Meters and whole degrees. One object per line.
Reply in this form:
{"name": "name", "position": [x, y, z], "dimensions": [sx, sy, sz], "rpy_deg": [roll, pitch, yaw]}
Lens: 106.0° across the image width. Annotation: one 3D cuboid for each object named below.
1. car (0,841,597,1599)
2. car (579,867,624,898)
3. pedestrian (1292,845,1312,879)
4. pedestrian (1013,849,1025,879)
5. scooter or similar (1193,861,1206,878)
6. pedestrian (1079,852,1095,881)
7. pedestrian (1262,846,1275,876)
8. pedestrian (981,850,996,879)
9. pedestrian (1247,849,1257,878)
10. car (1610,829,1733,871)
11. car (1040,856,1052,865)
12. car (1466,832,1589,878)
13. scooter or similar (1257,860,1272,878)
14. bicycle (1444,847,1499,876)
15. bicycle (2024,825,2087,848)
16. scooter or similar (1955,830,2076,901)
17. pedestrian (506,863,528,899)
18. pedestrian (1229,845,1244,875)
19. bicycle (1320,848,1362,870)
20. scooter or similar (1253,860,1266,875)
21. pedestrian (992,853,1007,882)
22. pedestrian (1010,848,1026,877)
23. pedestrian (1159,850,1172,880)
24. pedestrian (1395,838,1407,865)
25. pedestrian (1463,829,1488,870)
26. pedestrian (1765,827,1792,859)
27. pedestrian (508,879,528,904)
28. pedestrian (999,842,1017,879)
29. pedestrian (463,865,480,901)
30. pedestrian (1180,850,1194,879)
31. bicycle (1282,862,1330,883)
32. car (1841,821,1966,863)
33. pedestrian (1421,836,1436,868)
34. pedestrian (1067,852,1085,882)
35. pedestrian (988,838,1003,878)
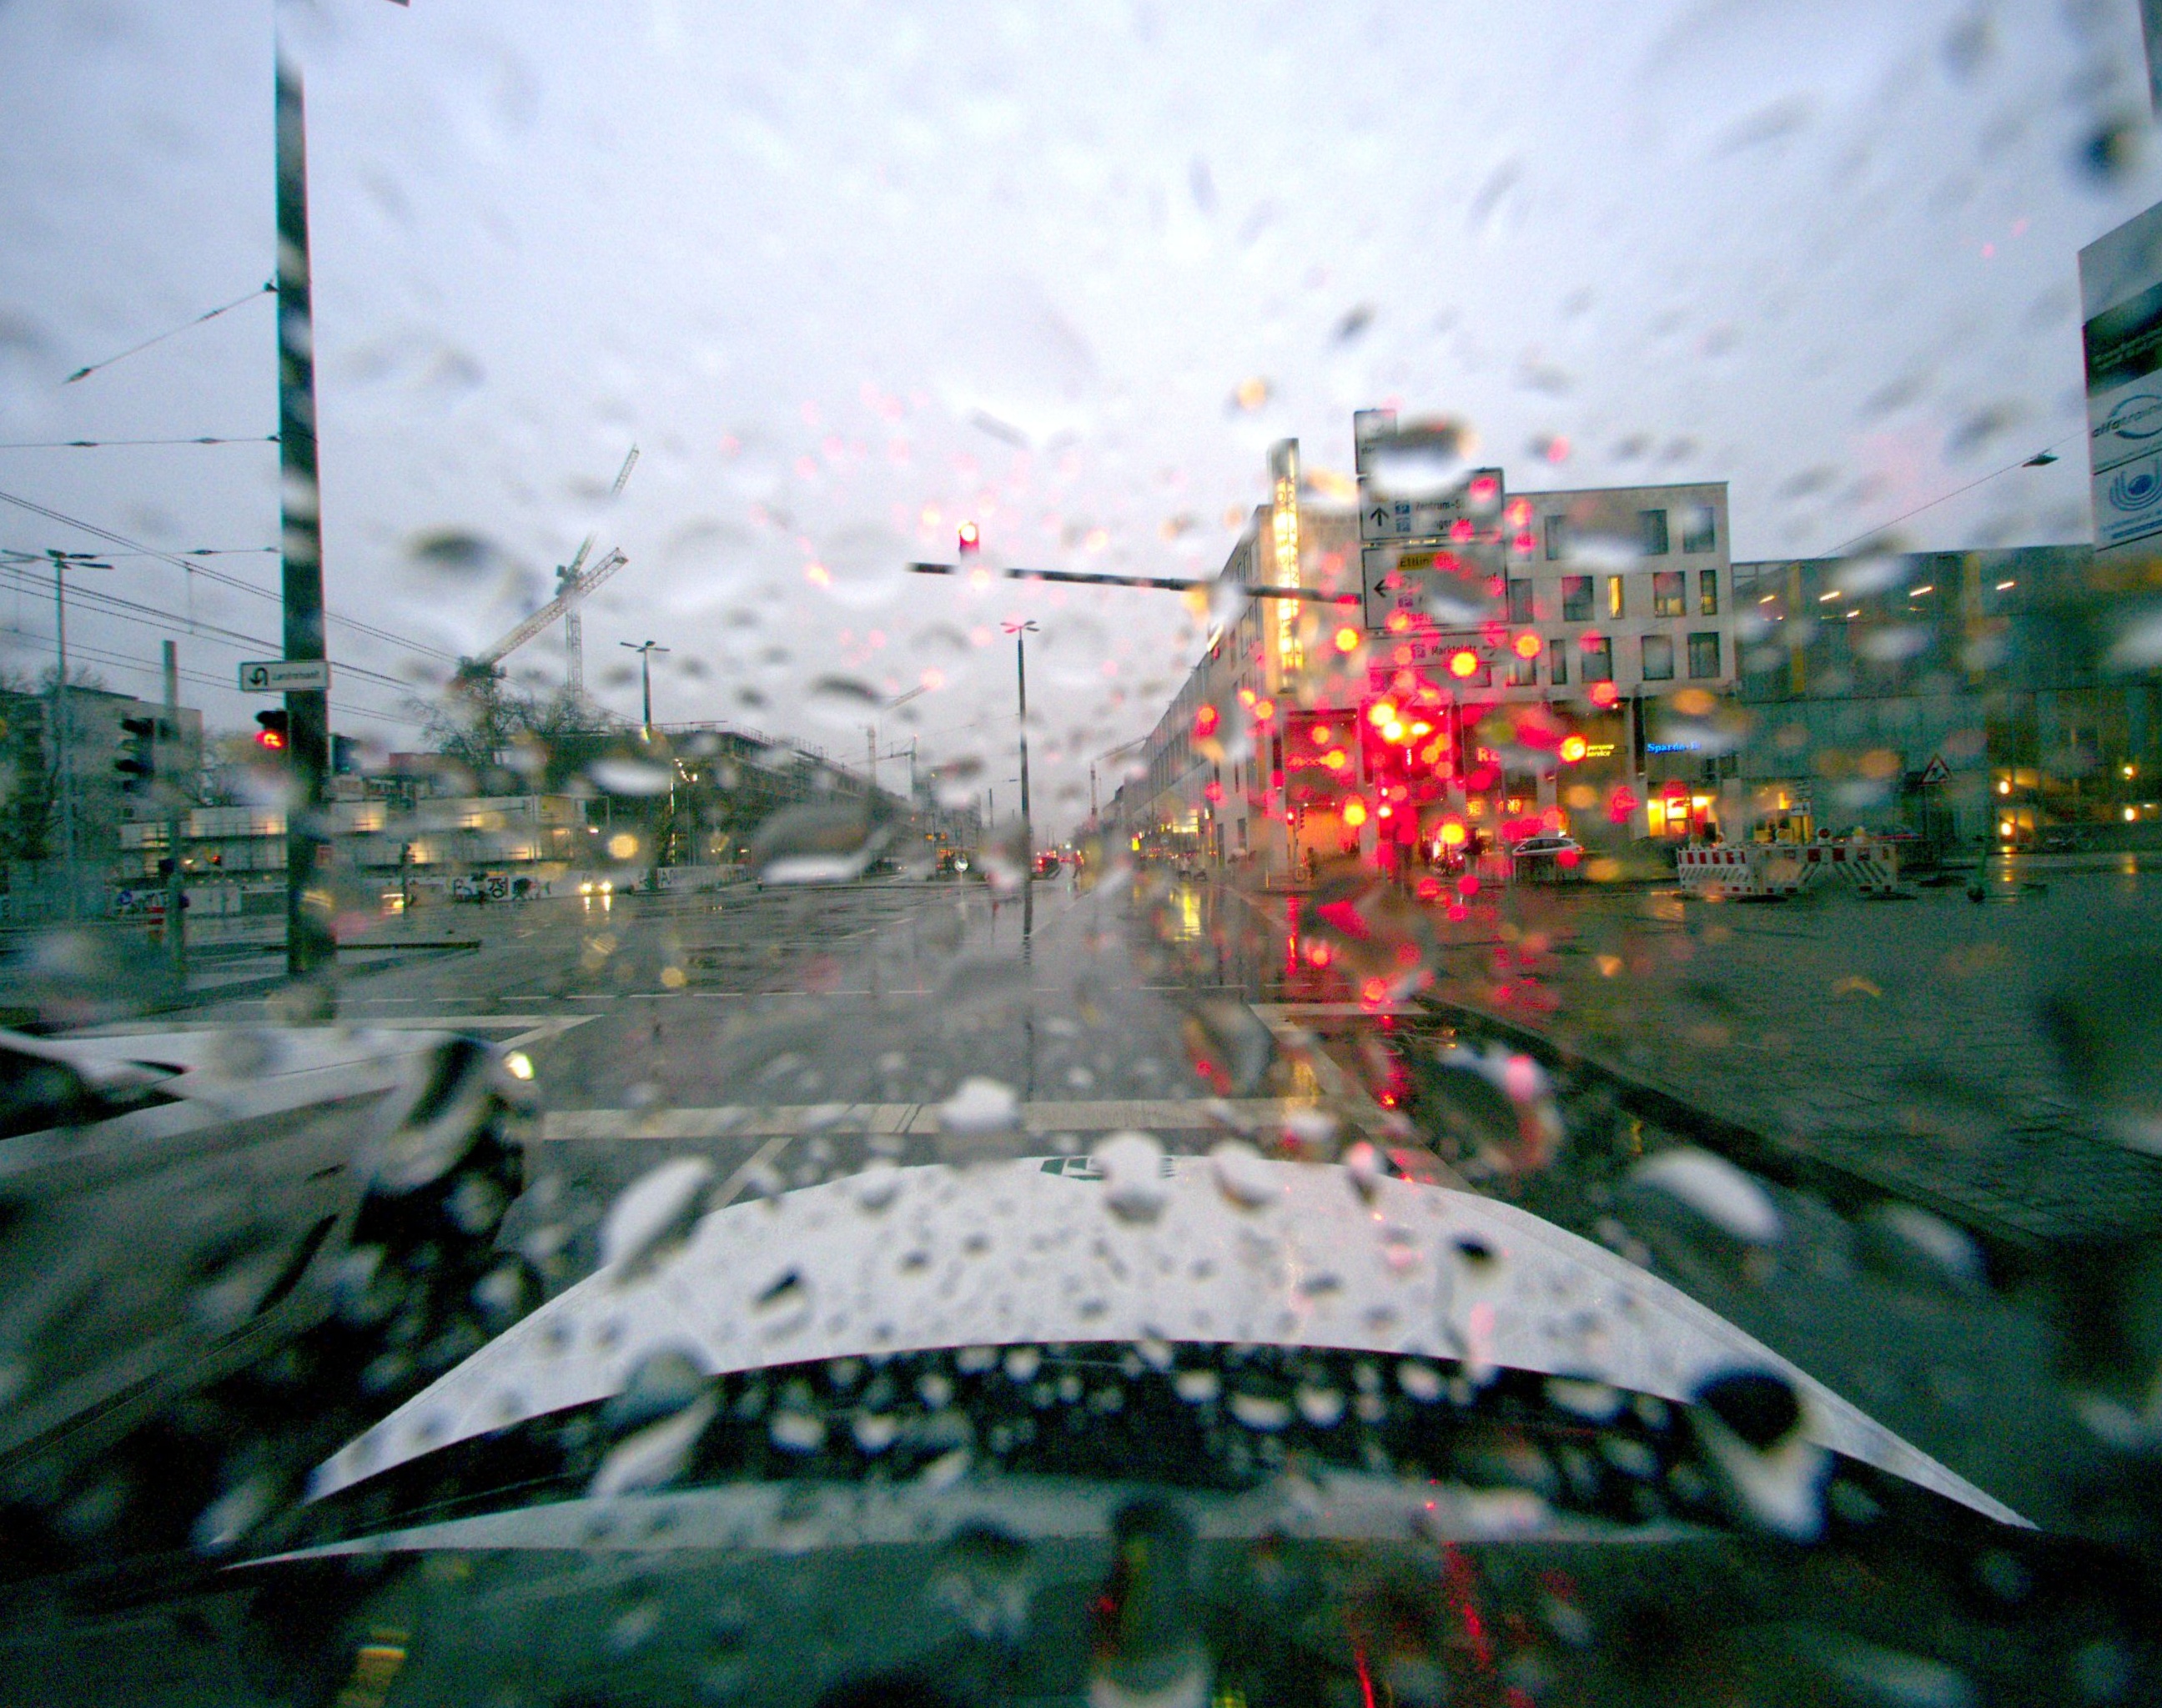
{"name": "car", "position": [-3.151, 0.768, 1.141], "dimensions": [1.903, 1.520, 4.924], "rpy_deg": [-2, 0, 1]}
{"name": "car", "position": [-33.639, 1.957, 57.203], "dimensions": [1.760, 2.013, 3.977], "rpy_deg": [-2, 0, -17]}
{"name": "pedestrian", "position": [10.444, 0.373, 38.499], "dimensions": [0.810, 1.570, 0.537], "rpy_deg": [-2, -1, 7]}
{"name": "pedestrian", "position": [-3.728, 0.587, 48.838], "dimensions": [0.617, 1.746, 0.612], "rpy_deg": [-2, -1, -4]}
{"name": "scooter or similar", "position": [7.010, 0.930, 48.192], "dimensions": [0.736, 0.993, 0.402], "rpy_deg": [-2, -1, 13]}
{"name": "pedestrian", "position": [0.348, 0.734, 48.049], "dimensions": [0.839, 1.688, 0.678], "rpy_deg": [-2, -1, 3]}
{"name": "pedestrian", "position": [11.511, 0.424, 49.966], "dimensions": [0.615, 1.760, 0.482], "rpy_deg": [-2, -1, 1]}
{"name": "pedestrian", "position": [-5.378, 0.612, 47.613], "dimensions": [0.704, 1.619, 0.681], "rpy_deg": [-2, -1, 3]}
{"name": "pedestrian", "position": [10.764, 0.595, 51.199], "dimensions": [0.510, 1.760, 0.374], "rpy_deg": [-2, -1, 1]}
{"name": "car", "position": [25.208, -0.161, 34.837], "dimensions": [4.037, 1.582, 1.676], "rpy_deg": [-2, -1, -1]}
{"name": "car", "position": [-6.919, 1.246, 161.398], "dimensions": [1.881, 1.783, 3.716], "rpy_deg": [-1, -1, 2]}
{"name": "car", "position": [19.016, 0.043, 34.816], "dimensions": [4.283, 1.761, 1.709], "rpy_deg": [-2, 0, 4]}
{"name": "scooter or similar", "position": [10.494, 0.878, 46.478], "dimensions": [0.738, 0.993, 0.401], "rpy_deg": [-2, 0, 3]}
{"name": "bicycle", "position": [15.476, 0.301, 32.321], "dimensions": [1.831, 1.093, 0.620], "rpy_deg": [-2, -1, 16]}
{"name": "bicycle", "position": [48.713, -0.864, 40.735], "dimensions": [0.613, 1.033, 2.138], "rpy_deg": [-2, 0, 3]}
{"name": "scooter or similar", "position": [15.788, 0.194, 13.799], "dimensions": [0.603, 1.130, 1.236], "rpy_deg": [-2, 0, 2]}
{"name": "pedestrian", "position": [-32.973, 1.584, 47.608], "dimensions": [0.792, 2.014, 0.745], "rpy_deg": [-2, -3, -9]}
{"name": "pedestrian", "position": [9.205, 0.364, 48.225], "dimensions": [0.700, 1.760, 0.668], "rpy_deg": [-2, 0, 1]}
{"name": "bicycle", "position": [16.340, 0.301, 51.113], "dimensions": [2.420, 1.329, 0.634], "rpy_deg": [-2, 0, -4]}
{"name": "scooter or similar", "position": [11.406, 0.869, 52.088], "dimensions": [0.738, 0.916, 0.401], "rpy_deg": [-2, 0, 3]}
{"name": "pedestrian", "position": [-4.626, 0.776, 46.193], "dimensions": [0.704, 1.619, 0.613], "rpy_deg": [-2, -1, -1]}
{"name": "pedestrian", "position": [-3.575, 0.505, 46.358], "dimensions": [0.806, 1.607, 0.746], "rpy_deg": [-2, -1, 1]}
{"name": "pedestrian", "position": [5.114, 0.646, 49.364], "dimensions": [0.700, 1.760, 0.652], "rpy_deg": [-2, 0, 1]}
{"name": "pedestrian", "position": [21.038, -0.159, 53.485], "dimensions": [0.530, 1.718, 0.505], "rpy_deg": [-3, -1, 39]}
{"name": "pedestrian", "position": [15.635, -0.182, 32.288], "dimensions": [0.774, 1.595, 0.616], "rpy_deg": [-2, -1, 17]}
{"name": "pedestrian", "position": [36.173, -0.551, 42.250], "dimensions": [0.791, 1.631, 0.709], "rpy_deg": [-1, -1, 1]}
{"name": "pedestrian", "position": [-36.214, 2.430, 52.427], "dimensions": [0.641, 1.529, 0.797], "rpy_deg": [-3, -1, 5]}
{"name": "pedestrian", "position": [-4.031, 0.340, 45.122], "dimensions": [0.779, 2.013, 0.608], "rpy_deg": [-2, -1, -26]}
{"name": "pedestrian", "position": [-34.573, 1.643, 46.191], "dimensions": [0.507, 2.014, 0.638], "rpy_deg": [-3, -3, -9]}
{"name": "pedestrian", "position": [6.277, 0.639, 48.359], "dimensions": [0.736, 1.667, 0.402], "rpy_deg": [-2, -1, 13]}
{"name": "bicycle", "position": [10.599, 0.871, 38.476], "dimensions": [2.117, 0.991, 0.542], "rpy_deg": [-1, -1, 6]}
{"name": "car", "position": [34.715, -0.493, 34.444], "dimensions": [3.558, 1.582, 1.676], "rpy_deg": [-2, -1, -1]}
{"name": "pedestrian", "position": [18.200, -0.109, 42.631], "dimensions": [0.530, 1.685, 0.552], "rpy_deg": [-3, -1, 39]}
{"name": "pedestrian", "position": [-0.288, 0.748, 47.561], "dimensions": [0.825, 1.679, 0.622], "rpy_deg": [-2, -1, 14]}
{"name": "pedestrian", "position": [-4.649, 0.220, 44.278], "dimensions": [0.687, 2.087, 0.610], "rpy_deg": [-2, -1, -14]}
